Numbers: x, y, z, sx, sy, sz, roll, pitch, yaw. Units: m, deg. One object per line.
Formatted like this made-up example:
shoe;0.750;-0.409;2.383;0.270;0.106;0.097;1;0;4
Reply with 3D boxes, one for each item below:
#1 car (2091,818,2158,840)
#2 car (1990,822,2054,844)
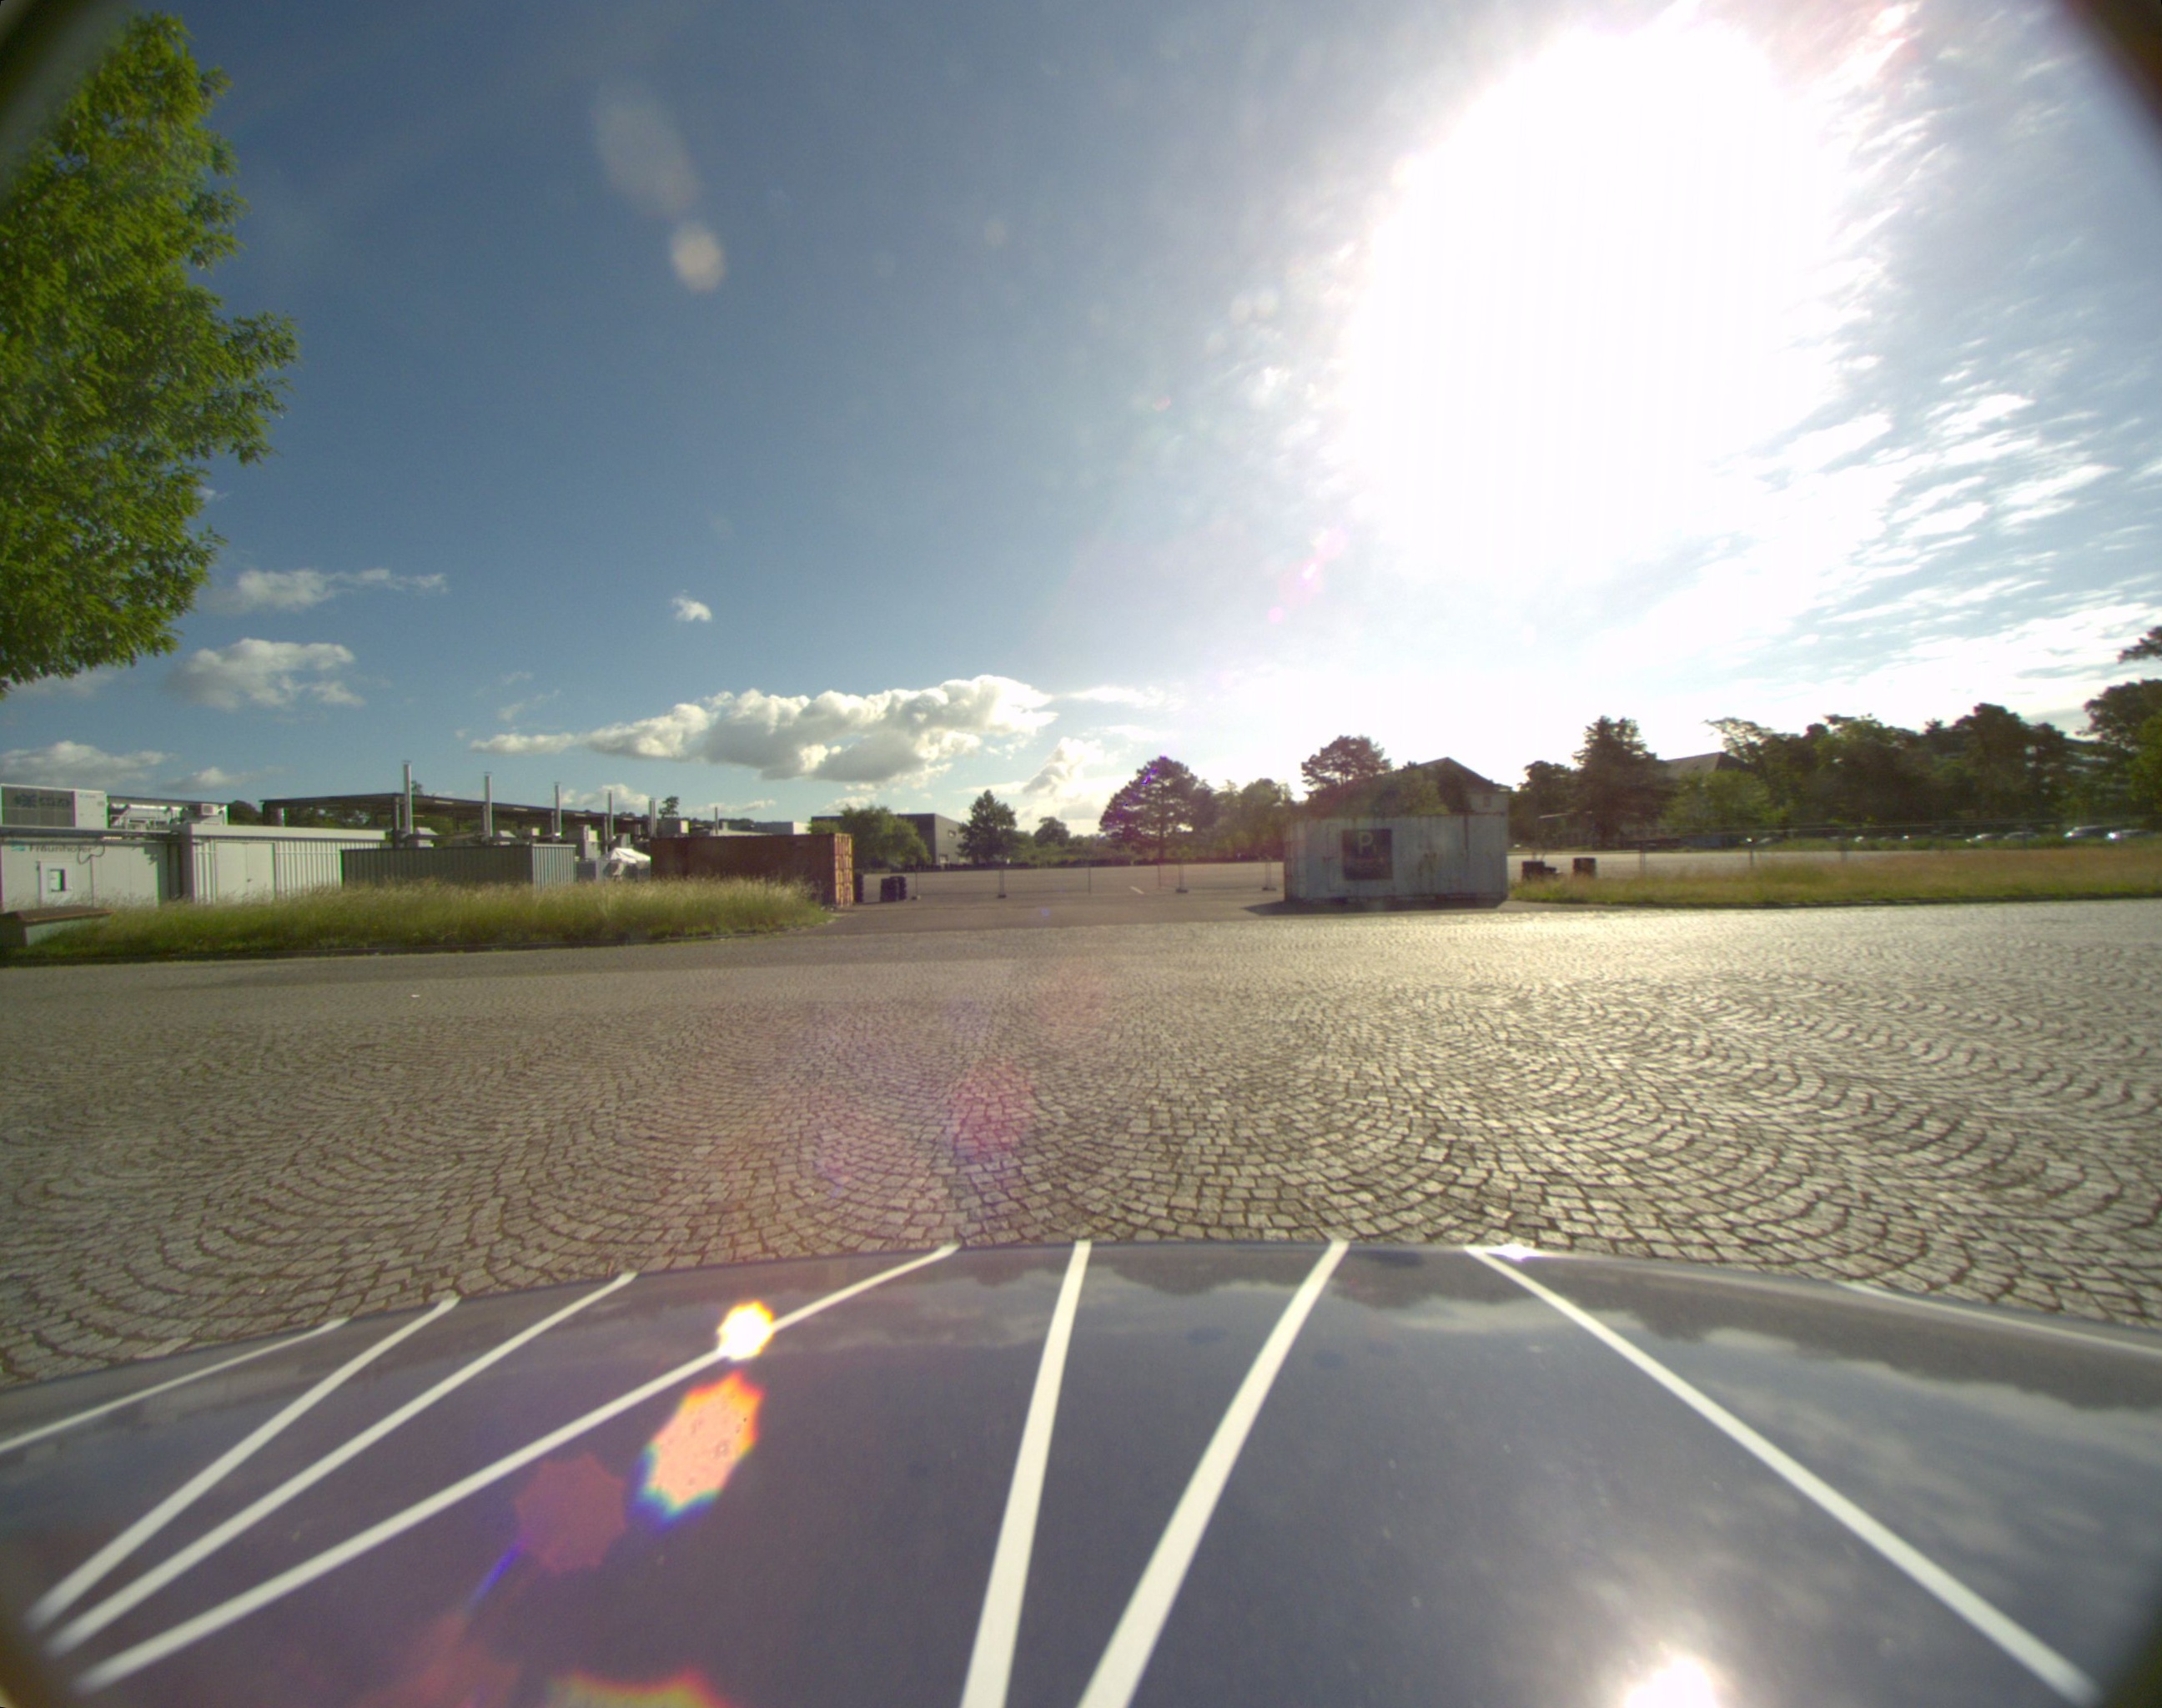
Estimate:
car;100.906;-2.393;73.477;3.998;1.936;1.999;-2;1;-4
car;100.570;-2.250;81.269;3.995;2.001;2.002;-2;-2;5
